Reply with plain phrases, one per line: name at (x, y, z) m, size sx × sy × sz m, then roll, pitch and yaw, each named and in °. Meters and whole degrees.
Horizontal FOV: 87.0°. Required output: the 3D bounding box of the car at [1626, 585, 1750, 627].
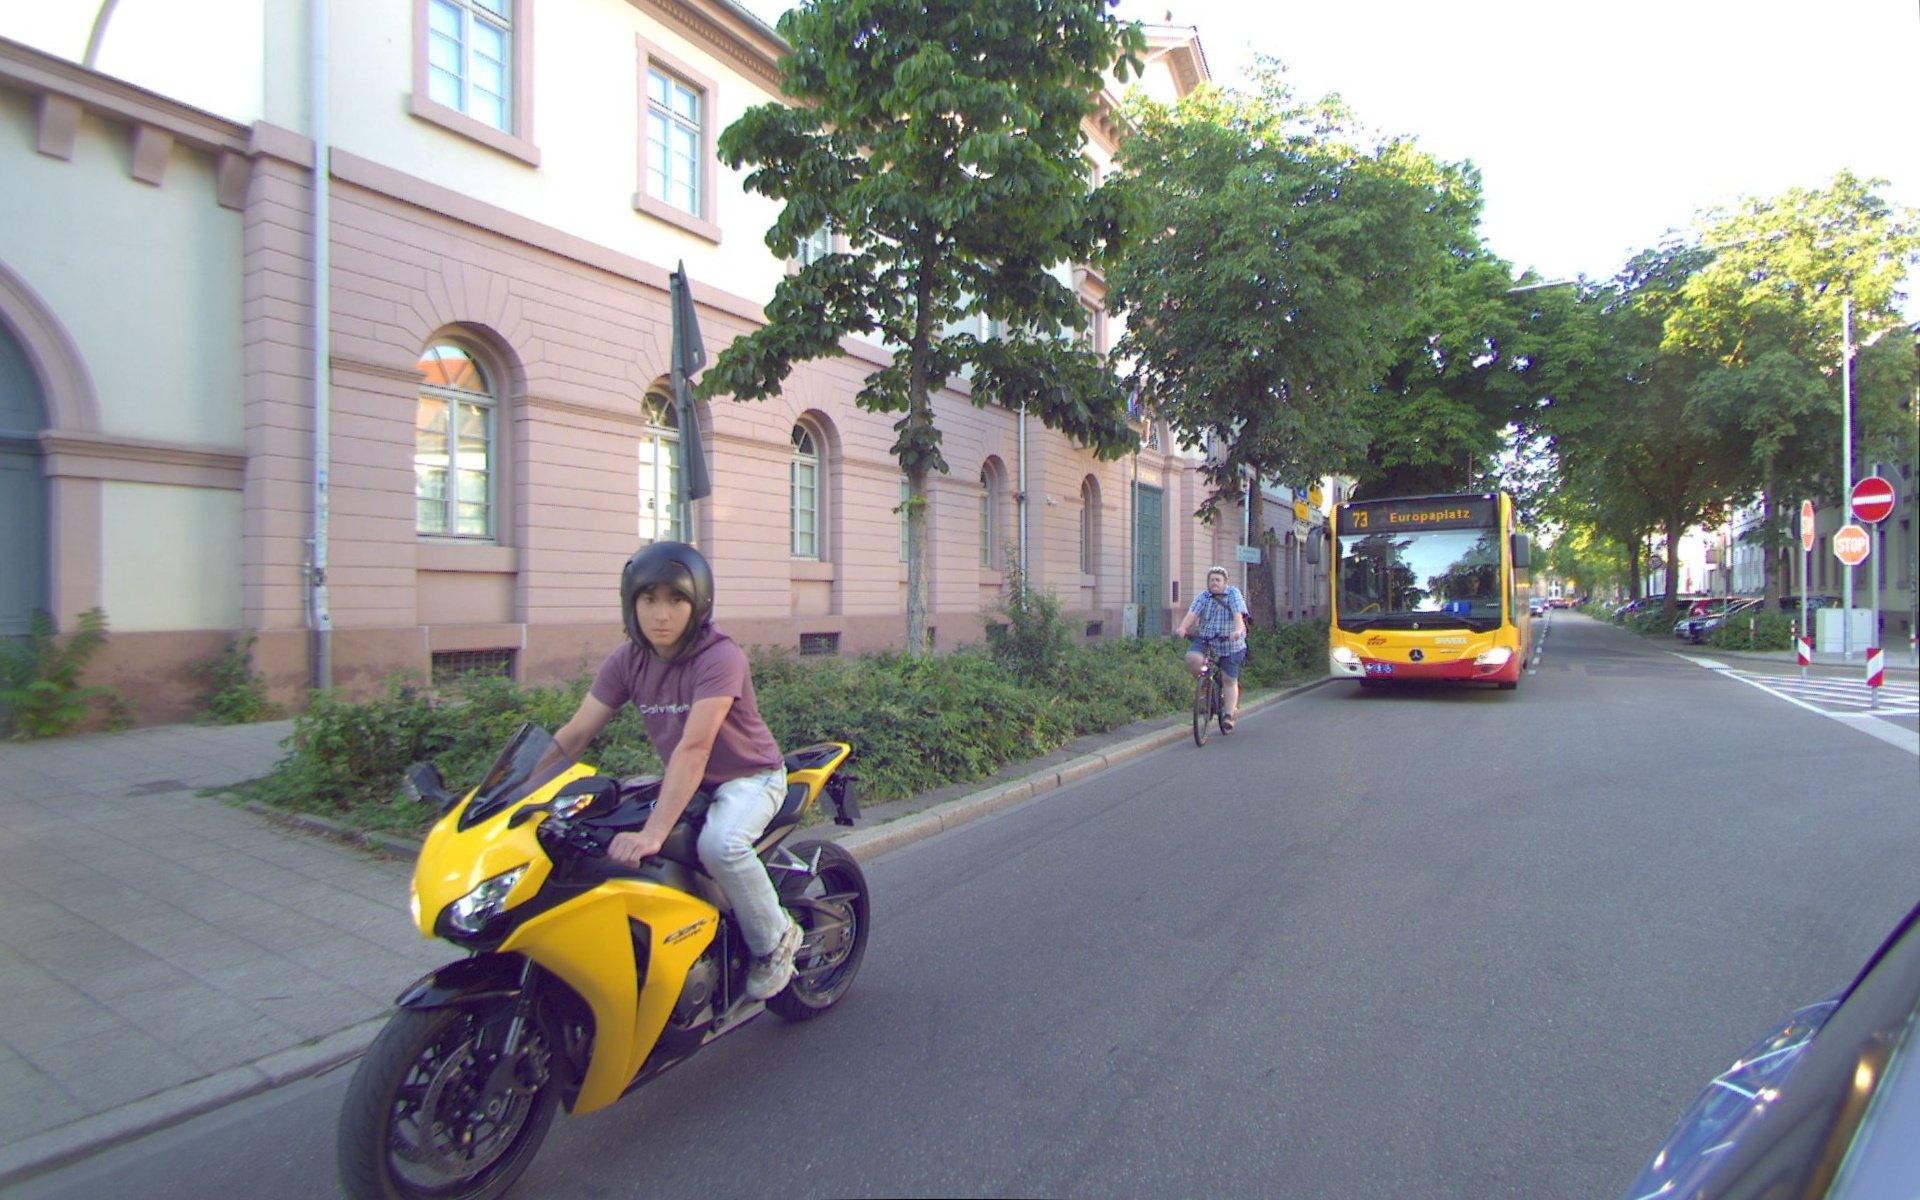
car at (31.174, 0.231, 43.479) m, size 3.956 × 1.731 × 1.984 m, roll 0°, pitch 0°, yaw 24°

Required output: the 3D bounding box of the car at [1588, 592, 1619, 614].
car at (47.481, 0.199, 74.700) m, size 1.785 × 1.529 × 3.957 m, roll 0°, pitch 0°, yaw 30°

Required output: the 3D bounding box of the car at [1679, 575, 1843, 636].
car at (27.183, 0.179, 34.525) m, size 3.956 × 1.976 × 1.984 m, roll 0°, pitch 0°, yaw 24°

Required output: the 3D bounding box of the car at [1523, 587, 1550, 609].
car at (46.825, -0.139, 82.170) m, size 1.830 × 1.730 × 3.957 m, roll 0°, pitch 0°, yaw 30°

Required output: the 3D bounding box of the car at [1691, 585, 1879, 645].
car at (24.454, 0.403, 30.184) m, size 3.956 × 1.690 × 1.786 m, roll 0°, pitch 0°, yaw 24°

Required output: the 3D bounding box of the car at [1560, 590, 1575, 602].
car at (89.785, -0.550, 149.524) m, size 1.830 × 1.730 × 4.113 m, roll 0°, pitch 0°, yaw 30°

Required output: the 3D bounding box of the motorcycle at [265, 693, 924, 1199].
motorcycle at (-0.887, 0.917, 3.096) m, size 0.730 × 1.073 × 1.947 m, roll -2°, pitch 0°, yaw 25°

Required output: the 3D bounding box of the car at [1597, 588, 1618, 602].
car at (71.003, -0.513, 111.068) m, size 1.785 × 1.529 × 3.957 m, roll 0°, pitch 0°, yaw 30°

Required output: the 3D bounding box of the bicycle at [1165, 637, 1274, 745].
bicycle at (2.850, 0.938, 10.975) m, size 0.632 × 0.996 × 1.960 m, roll -3°, pitch -2°, yaw 29°

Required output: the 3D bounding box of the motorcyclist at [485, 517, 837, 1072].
motorcyclist at (-0.890, 0.506, 3.104) m, size 0.730 × 1.430 × 0.720 m, roll -2°, pitch -1°, yaw 26°

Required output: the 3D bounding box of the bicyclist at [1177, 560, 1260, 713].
bicyclist at (2.806, 0.387, 10.958) m, size 0.632 × 1.581 × 0.810 m, roll -3°, pitch -2°, yaw 30°

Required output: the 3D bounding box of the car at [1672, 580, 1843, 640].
car at (25.581, 0.305, 32.638) m, size 3.956 × 1.834 × 1.785 m, roll 0°, pitch 0°, yaw 24°

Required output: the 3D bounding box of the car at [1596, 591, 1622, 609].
car at (57.210, 0.009, 89.255) m, size 1.785 × 1.529 × 3.957 m, roll 0°, pitch 0°, yaw 30°

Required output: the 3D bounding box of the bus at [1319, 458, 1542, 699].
bus at (9.475, -0.309, 19.366) m, size 2.648 × 3.235 × 11.769 m, roll -2°, pitch 0°, yaw 31°

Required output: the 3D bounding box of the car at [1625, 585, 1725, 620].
car at (37.199, 0.110, 52.765) m, size 3.956 × 1.731 × 1.830 m, roll 0°, pitch 0°, yaw 24°
